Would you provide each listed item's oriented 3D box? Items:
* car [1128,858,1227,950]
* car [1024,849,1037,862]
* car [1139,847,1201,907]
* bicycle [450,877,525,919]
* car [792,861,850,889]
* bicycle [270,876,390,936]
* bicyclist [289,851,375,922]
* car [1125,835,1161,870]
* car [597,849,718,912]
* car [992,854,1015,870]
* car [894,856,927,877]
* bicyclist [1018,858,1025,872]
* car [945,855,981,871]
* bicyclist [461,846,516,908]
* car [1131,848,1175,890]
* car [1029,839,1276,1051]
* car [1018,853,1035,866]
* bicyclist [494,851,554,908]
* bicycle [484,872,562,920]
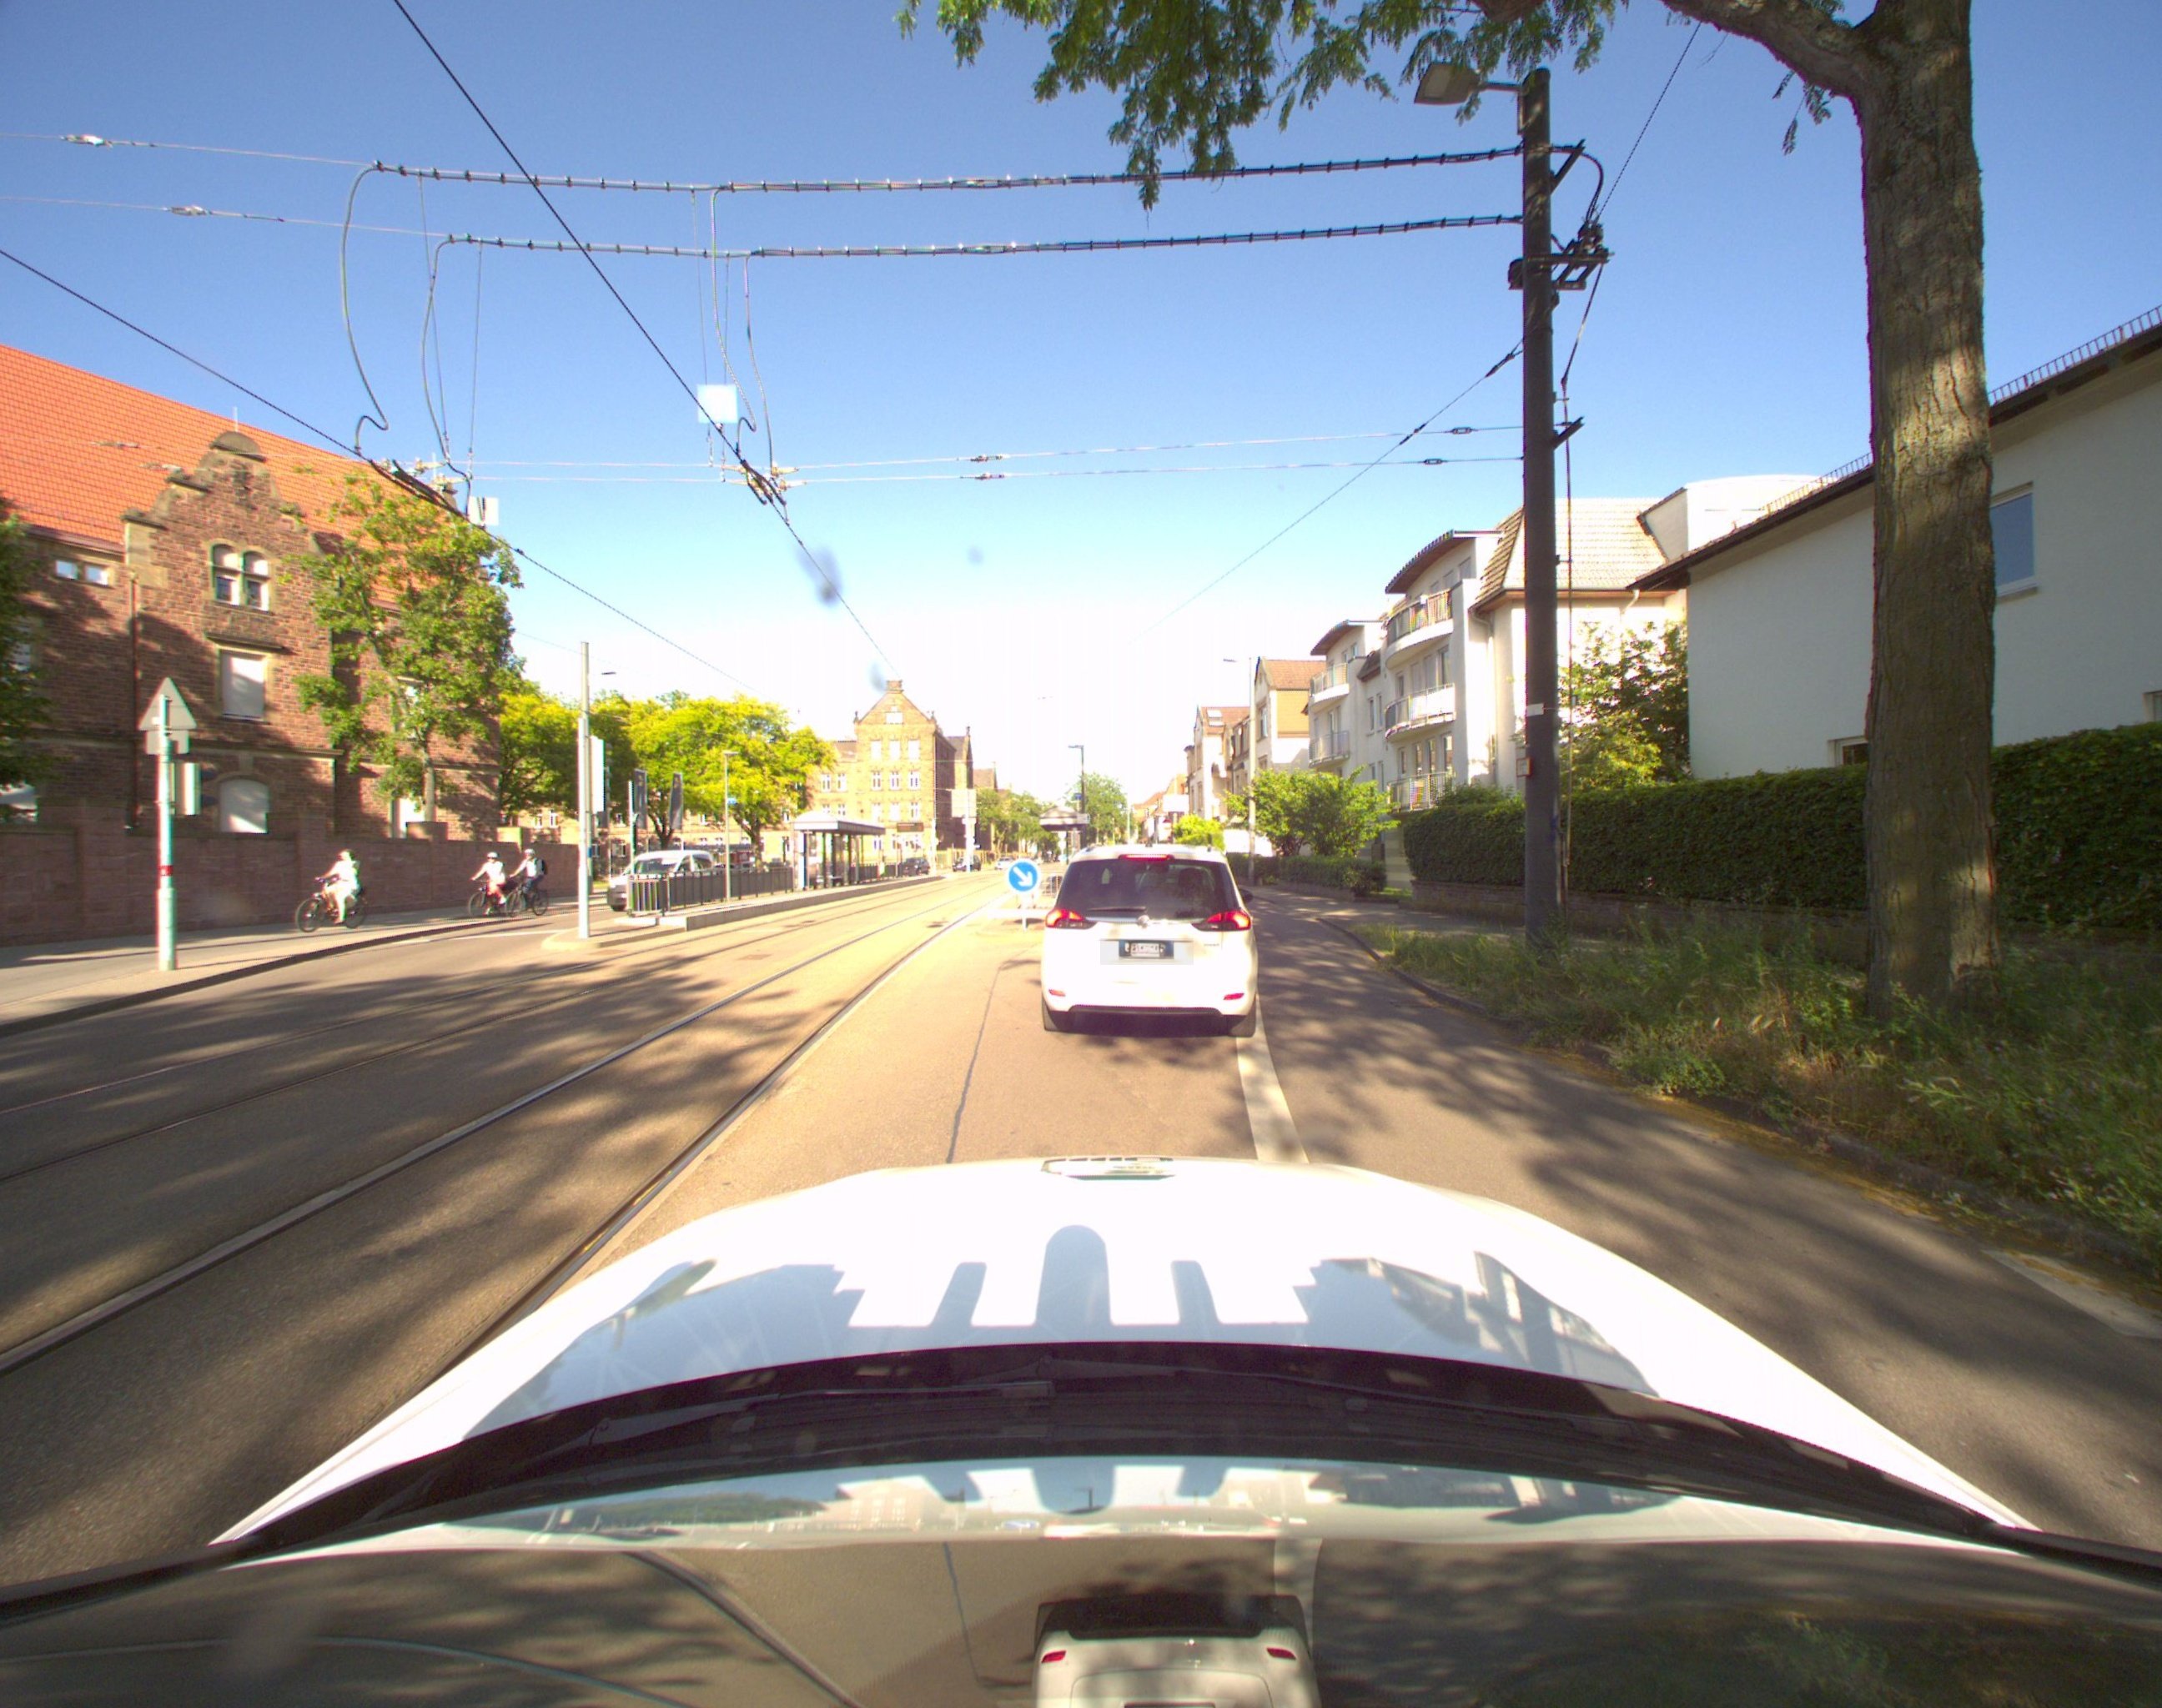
[{"bbox_3d":[1.777,0.807,14.862,1.560,1.401,3.792,1,0,7],"label":"car"},{"bbox_3d":[-8.422,0.251,135.695,1.988,2.014,3.998,0,-1,-1],"label":"car"},{"bbox_3d":[2.528,0.612,23.758,1.563,1.614,3.787,1,0,3],"label":"car"},{"bbox_3d":[-16.612,1.203,22.855,0.667,1.072,2.014,0,0,-1],"label":"bicycle"},{"bbox_3d":[-14.282,1.109,44.962,1.793,1.382,4.493,-1,0,-1],"label":"car"},{"bbox_3d":[-16.187,1.089,17.633,0.813,1.198,1.952,0,0,-1],"label":"bicycle"},{"bbox_3d":[-16.186,0.684,17.629,0.754,1.471,1.190,0,-1,-1],"label":"bicyclist"},{"bbox_3d":[3.038,-0.105,40.347,1.590,1.635,3.903,1,1,2],"label":"car"},{"bbox_3d":[-13.099,0.762,25.503,1.824,1.788,4.248,-1,0,-5],"label":"car"},{"bbox_3d":[-8.827,0.890,93.556,1.818,1.788,4.333,-1,-1,5],"label":"car"},{"bbox_3d":[-13.796,0.985,66.114,1.822,1.617,4.324,-1,-1,-2],"label":"car"},{"bbox_3d":[-7.733,1.430,105.944,0.723,1.688,1.169,-1,0,0],"label":"bicyclist"},{"bbox_3d":[-11.549,0.898,80.045,1.813,1.446,4.346,-1,-1,16],"label":"car"},{"bbox_3d":[-16.627,0.630,22.870,0.648,1.674,1.232,0,1,-2],"label":"bicyclist"},{"bbox_3d":[2.923,0.580,33.813,1.590,1.635,3.903,1,0,2],"label":"car"},{"bbox_3d":[0.790,0.672,8.185,1.868,1.585,4.008,0,0,7],"label":"car"},{"bbox_3d":[-8.184,0.833,122.424,1.985,2.014,4.003,0,-1,3],"label":"car"},{"bbox_3d":[-15.591,0.695,22.827,0.758,1.536,1.347,-1,0,-2],"label":"bicyclist"},{"bbox_3d":[-15.579,1.156,22.827,0.775,1.231,2.087,-1,0,-2],"label":"bicycle"}]
